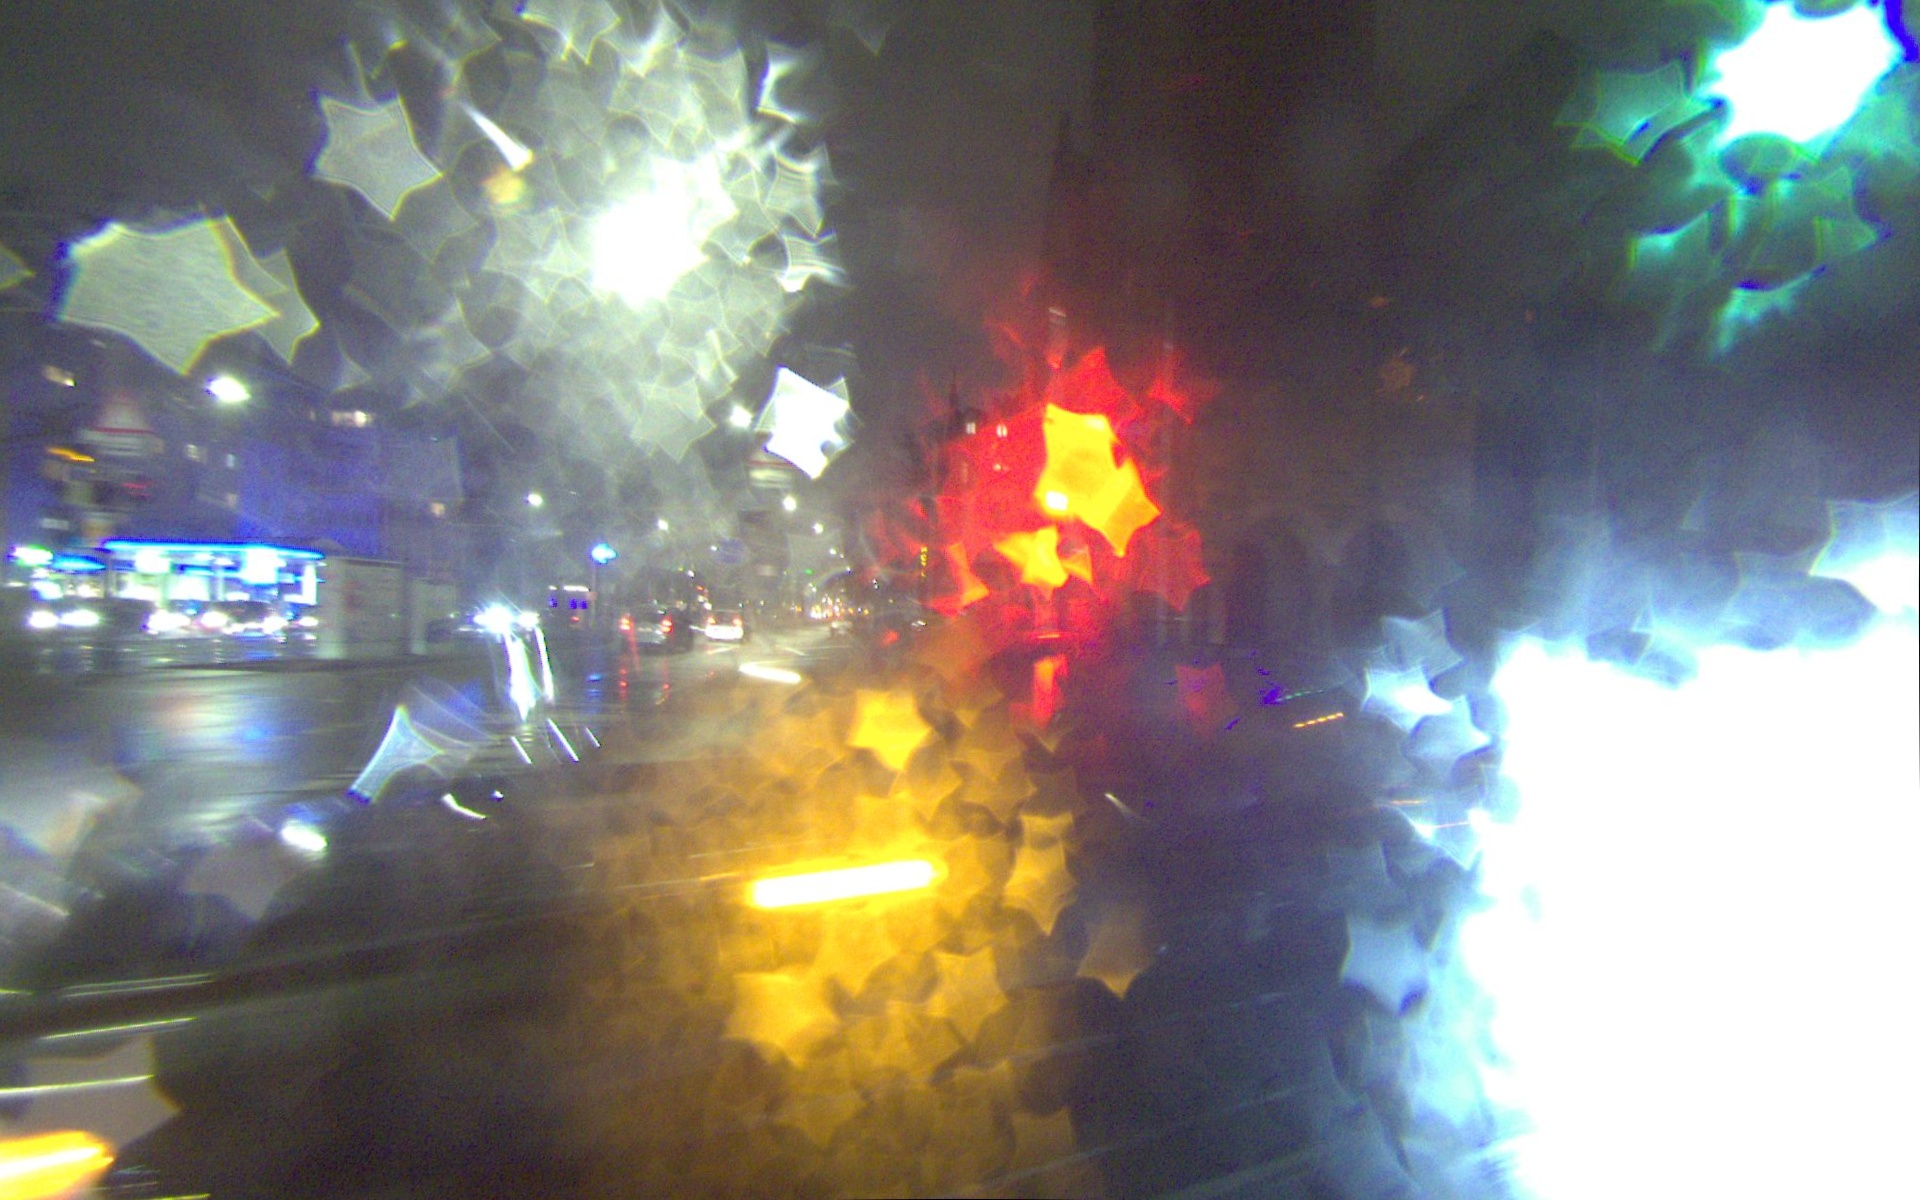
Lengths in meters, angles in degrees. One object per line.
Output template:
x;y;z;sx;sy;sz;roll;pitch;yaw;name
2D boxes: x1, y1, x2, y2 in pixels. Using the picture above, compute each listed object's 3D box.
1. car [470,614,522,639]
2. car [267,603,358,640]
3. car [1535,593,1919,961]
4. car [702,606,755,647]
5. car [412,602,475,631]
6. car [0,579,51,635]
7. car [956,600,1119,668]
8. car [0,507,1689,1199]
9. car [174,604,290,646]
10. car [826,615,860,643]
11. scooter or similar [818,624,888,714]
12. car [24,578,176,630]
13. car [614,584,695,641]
-33.894;1.932;73.513;1.861;1.766;4.738;1;-1;-3;car
-32.477;1.084;50.549;1.862;1.766;4.735;1;-1;-6;car
5.808;0.826;6.210;4.798;1.574;1.779;2;-1;-31;car
-10.833;1.210;47.293;1.862;1.804;4.329;1;-1;-6;car
-33.639;1.064;65.553;1.861;1.766;4.738;1;-1;-3;car
-31.187;0.200;31.243;1.862;1.766;4.735;1;-1;-6;car
2.013;0.873;26.835;4.113;1.723;1.702;0;0;-5;car
0.111;0.667;2.818;4.050;1.439;1.660;2;-1;-31;car
-32.042;1.089;44.415;1.861;1.766;4.738;1;-1;-3;car
-7.786;1.879;66.388;2.050;1.804;4.327;1;-1;-9;car
-1.588;1.002;14.860;1.061;1.256;0.285;1;0;33;scooter or similar
-31.694;0.165;37.225;1.862;1.766;4.735;1;-1;-6;car
-10.442;0.445;34.609;1.862;1.804;4.329;1;-1;-6;car
